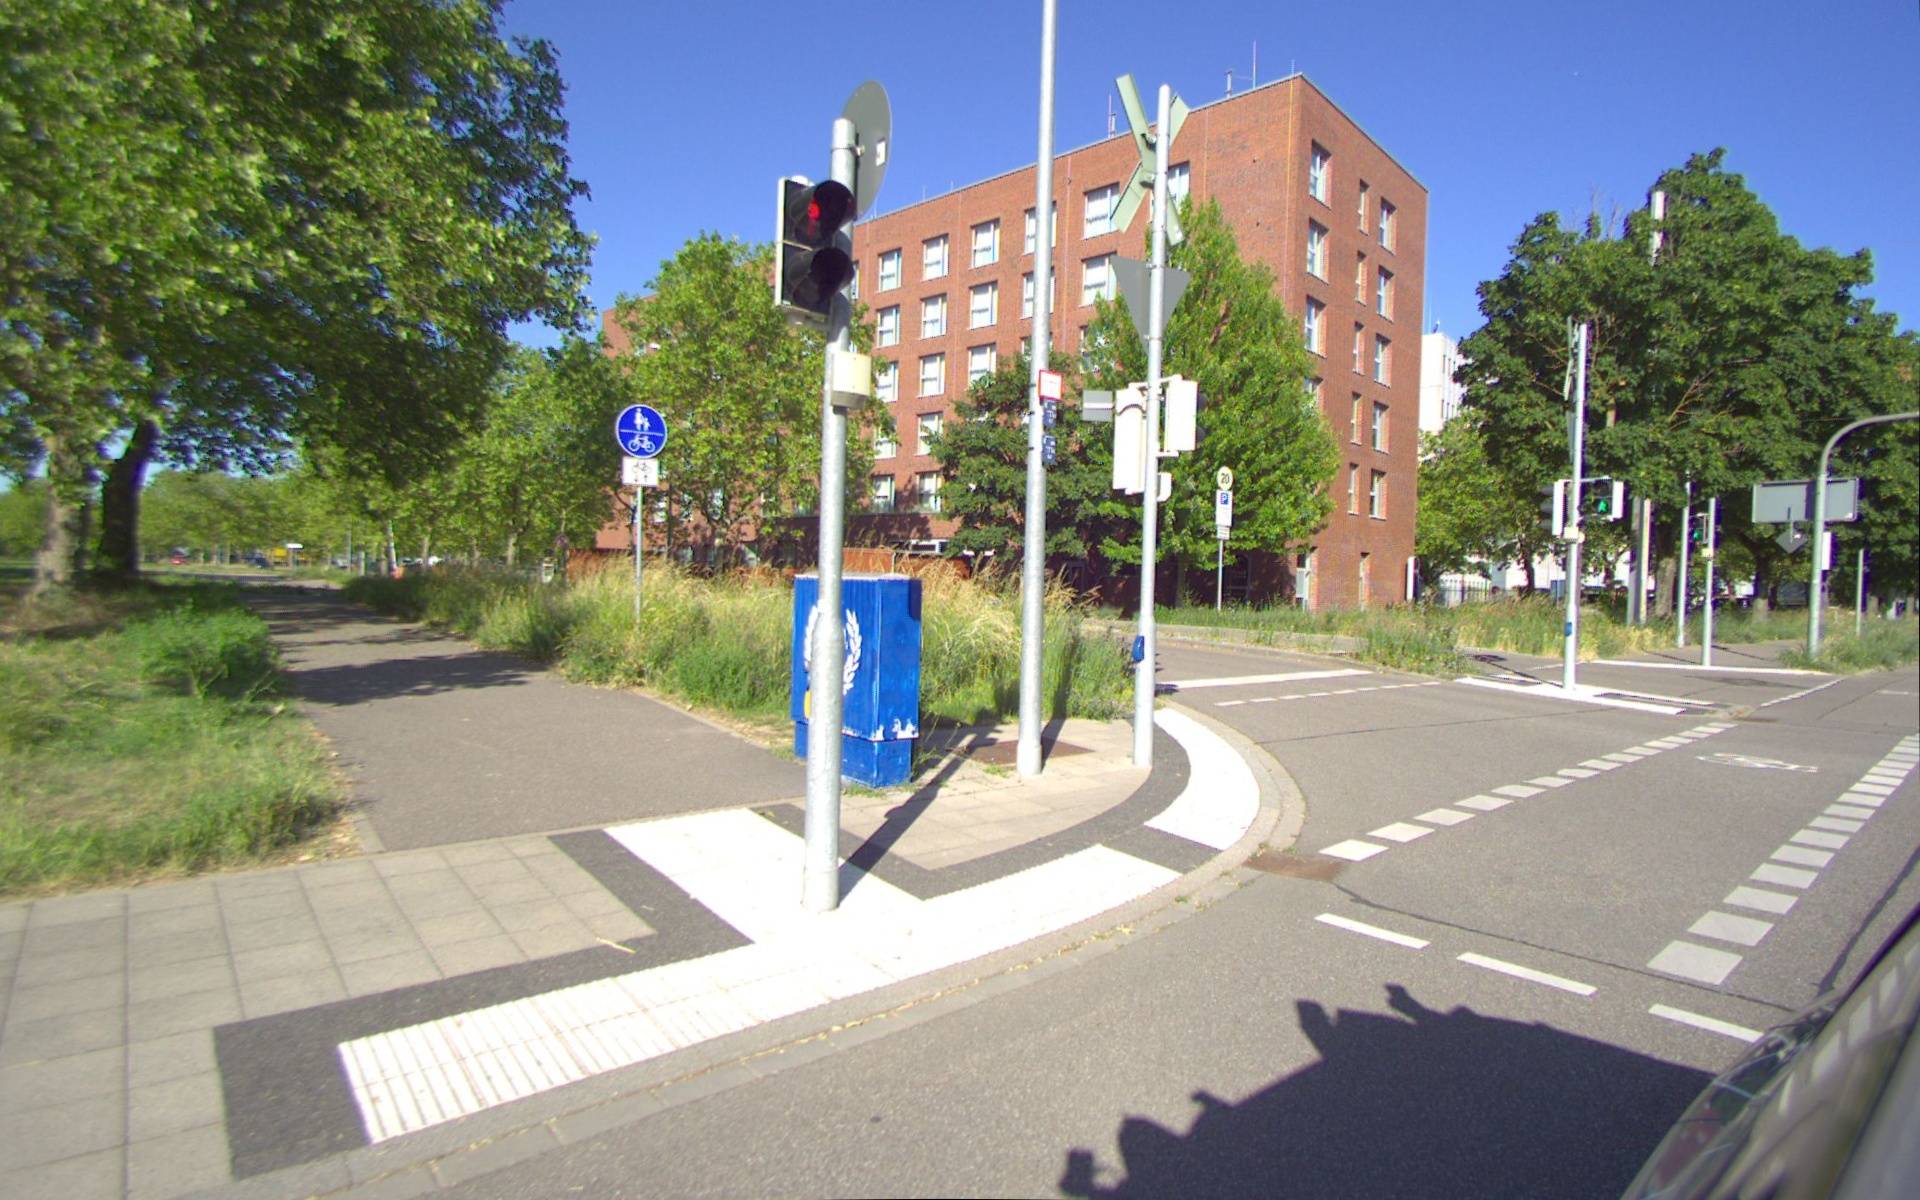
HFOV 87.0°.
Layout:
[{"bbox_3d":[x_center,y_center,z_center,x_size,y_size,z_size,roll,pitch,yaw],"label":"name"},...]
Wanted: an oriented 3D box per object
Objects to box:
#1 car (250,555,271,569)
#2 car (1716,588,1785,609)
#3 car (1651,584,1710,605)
[{"bbox_3d":[-79.998,-4.361,115.764,1.927,1.550,4.001,1,2,-35],"label":"car"},{"bbox_3d":[63.229,-0.120,81.022,1.705,1.524,4.043,1,2,-36],"label":"car"},{"bbox_3d":[76.682,-0.581,107.739,1.937,1.974,4.764,1,2,-37],"label":"car"}]
